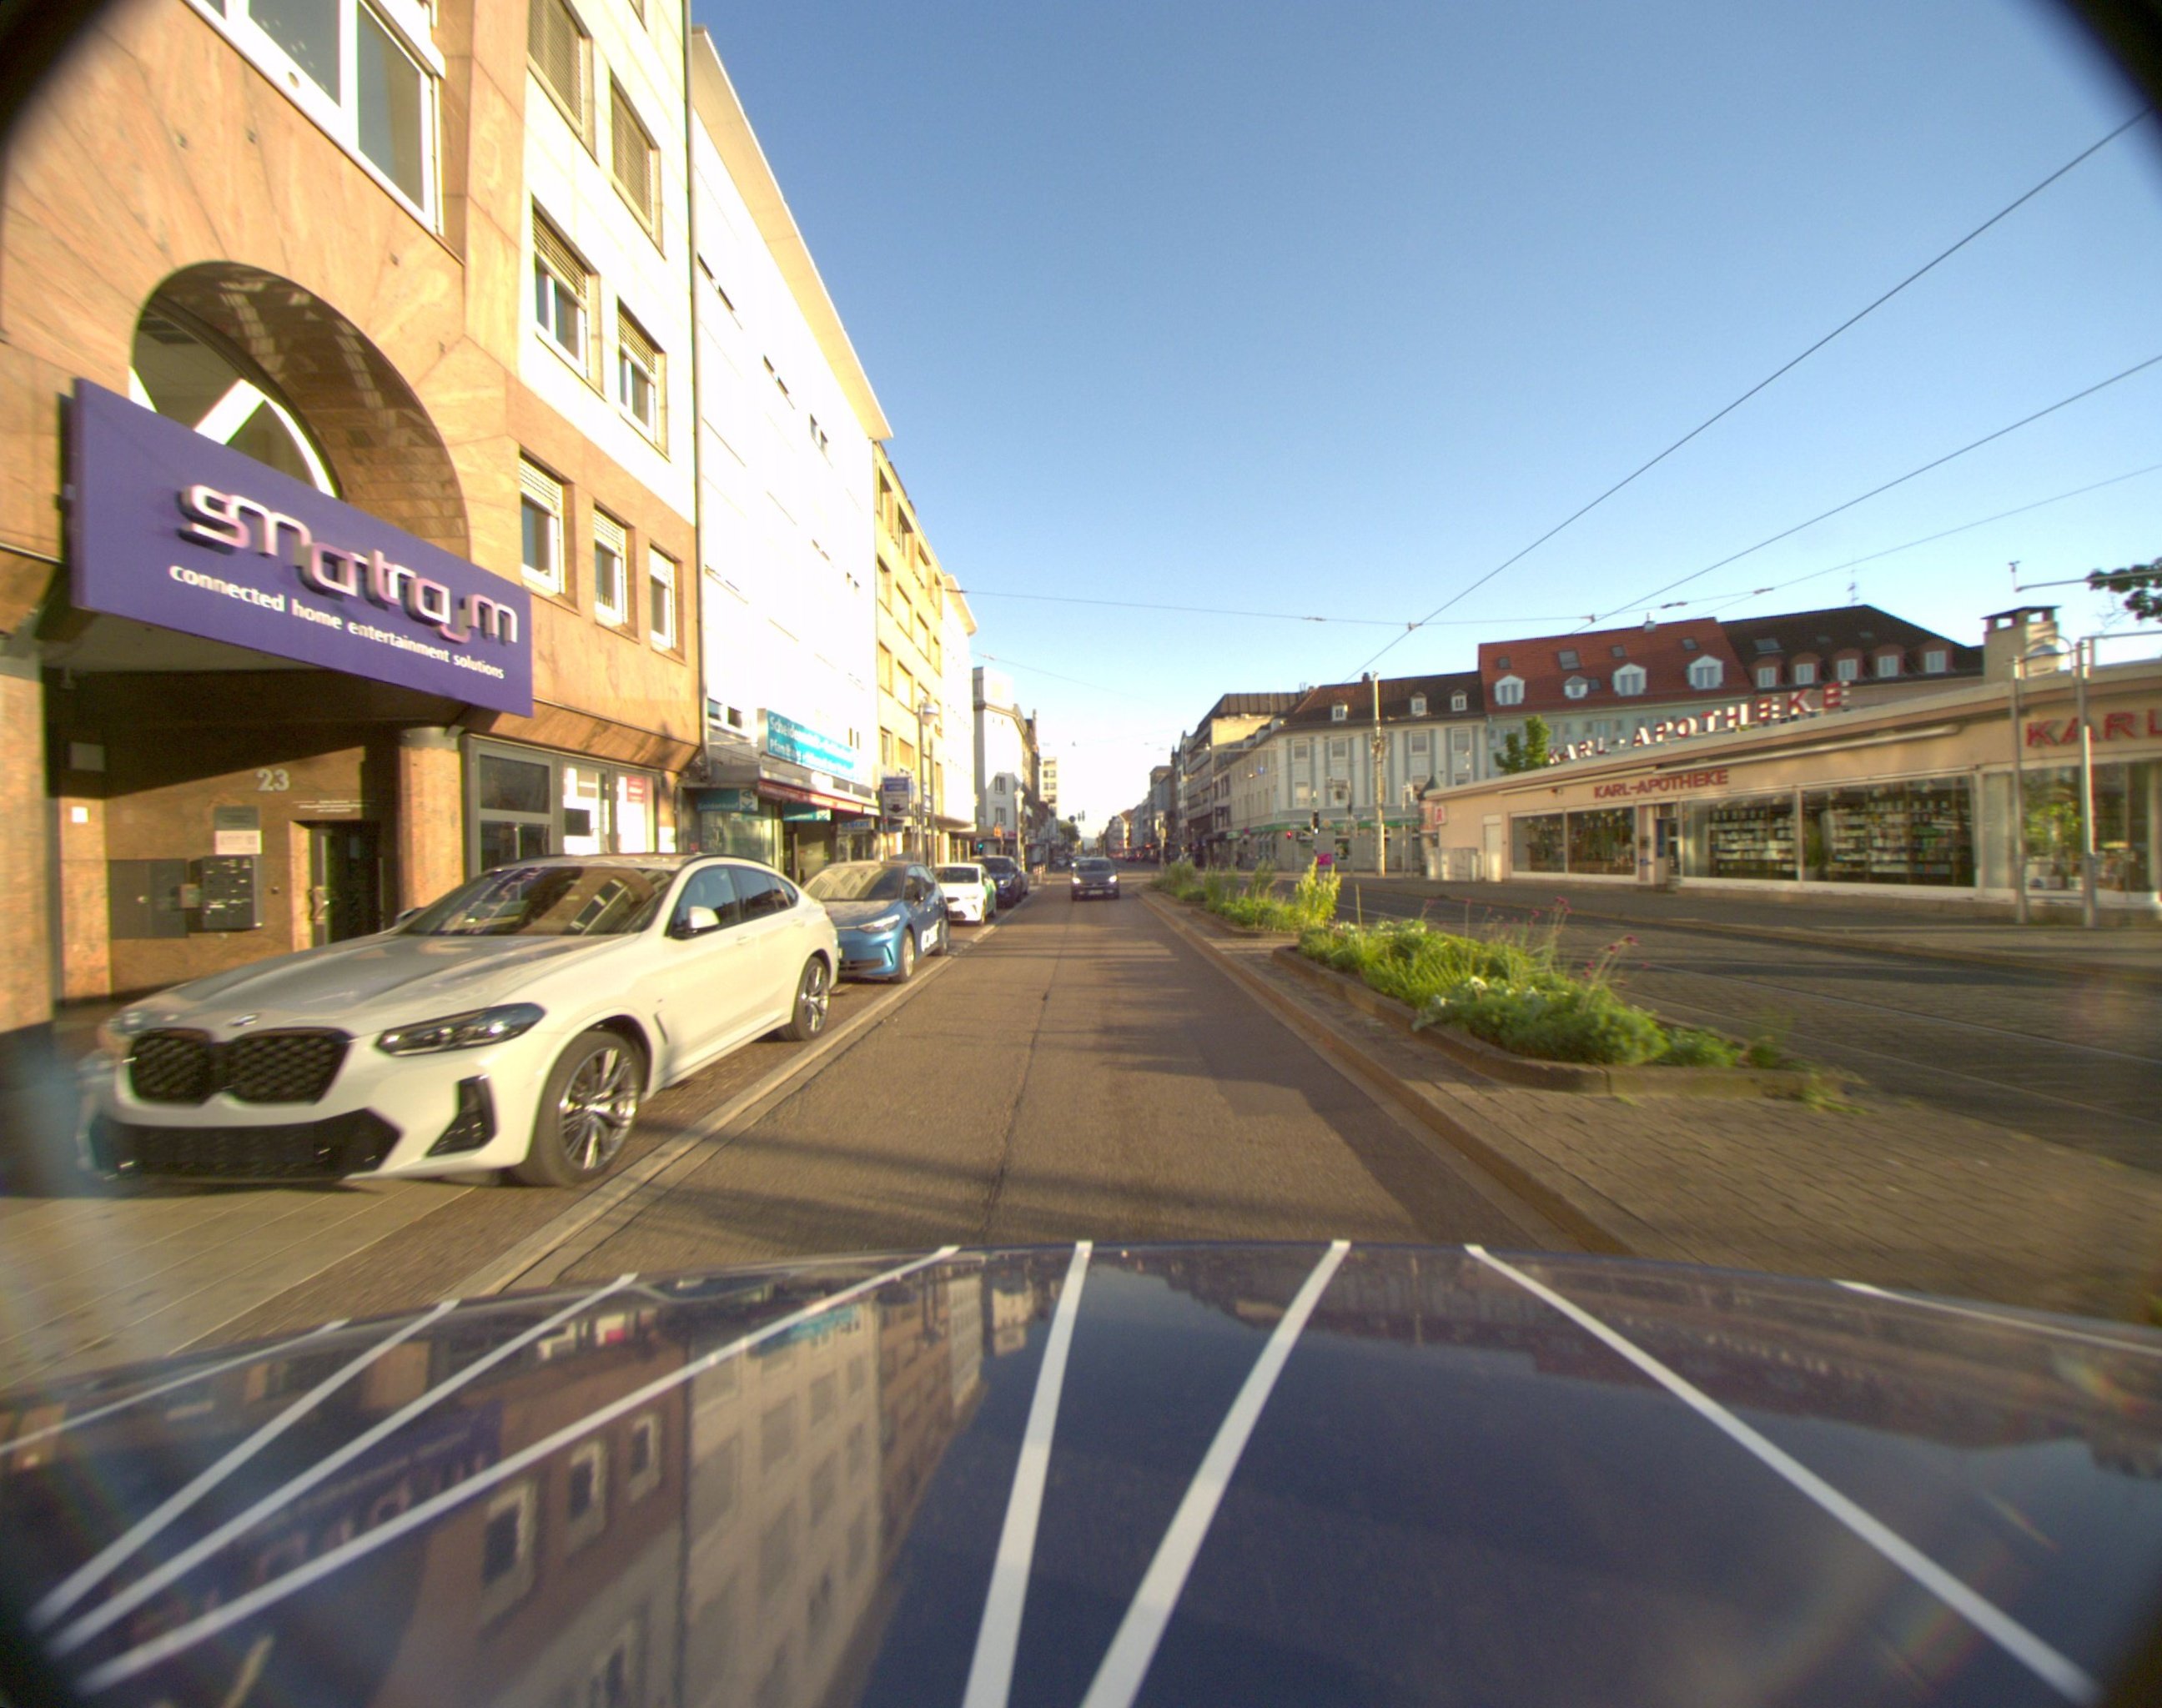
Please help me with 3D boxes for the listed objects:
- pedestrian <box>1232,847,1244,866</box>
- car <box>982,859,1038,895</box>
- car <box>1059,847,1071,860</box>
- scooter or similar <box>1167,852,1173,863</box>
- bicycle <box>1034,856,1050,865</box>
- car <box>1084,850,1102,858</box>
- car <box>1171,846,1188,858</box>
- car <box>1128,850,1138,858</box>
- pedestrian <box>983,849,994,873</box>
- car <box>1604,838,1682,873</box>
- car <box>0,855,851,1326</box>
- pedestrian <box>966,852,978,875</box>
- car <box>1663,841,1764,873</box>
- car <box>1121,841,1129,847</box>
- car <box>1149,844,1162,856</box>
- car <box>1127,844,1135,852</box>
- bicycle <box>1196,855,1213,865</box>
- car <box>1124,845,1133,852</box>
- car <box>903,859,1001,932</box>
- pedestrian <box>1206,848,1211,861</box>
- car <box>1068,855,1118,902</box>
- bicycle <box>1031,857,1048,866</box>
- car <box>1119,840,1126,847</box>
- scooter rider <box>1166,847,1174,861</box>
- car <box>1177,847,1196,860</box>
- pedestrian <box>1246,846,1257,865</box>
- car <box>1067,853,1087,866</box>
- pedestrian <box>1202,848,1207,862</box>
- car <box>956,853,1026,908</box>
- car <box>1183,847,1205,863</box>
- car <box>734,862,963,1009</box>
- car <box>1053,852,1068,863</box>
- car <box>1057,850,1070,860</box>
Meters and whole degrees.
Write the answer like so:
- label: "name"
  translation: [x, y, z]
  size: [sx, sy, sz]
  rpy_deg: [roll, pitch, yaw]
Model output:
- label: "pedestrian"
  translation: [14.164, 0.217, 68.599]
  size: [0.826, 1.718, 0.815]
  rpy_deg: [-2, 1, 21]
- label: "car"
  translation: [-2.882, 0.926, 31.527]
  size: [1.677, 1.275, 4.064]
  rpy_deg: [-1, 1, 3]
- label: "car"
  translation: [-2.710, -0.135, 129.348]
  size: [2.041, 2.105, 4.386]
  rpy_deg: [-1, 0, 0]
- label: "scooter or similar"
  translation: [11.217, 0.414, 95.450]
  size: [0.545, 1.343, 1.669]
  rpy_deg: [-2, 1, 1]
- label: "bicycle"
  translation: [-4.594, 0.766, 89.565]
  size: [1.762, 1.064, 0.443]
  rpy_deg: [0, 1, -6]
- label: "car"
  translation: [2.552, -0.021, 165.569]
  size: [1.801, 1.739, 3.844]
  rpy_deg: [1, 3, 43]
- label: "car"
  translation: [13.995, -0.325, 108.171]
  size: [1.819, 1.548, 3.998]
  rpy_deg: [-1, 2, 1]
- label: "car"
  translation: [10.478, 0.003, 153.339]
  size: [1.895, 1.471, 4.544]
  rpy_deg: [1, -1, 1]
- label: "pedestrian"
  translation: [-6.960, 0.509, 57.135]
  size: [0.749, 1.763, 0.586]
  rpy_deg: [-1, 1, -7]
- label: "car"
  translation: [35.401, 0.041, 47.981]
  size: [1.998, 2.002, 3.998]
  rpy_deg: [-1, 2, 1]
- label: "car"
  translation: [-3.224, 0.840, 5.001]
  size: [1.821, 1.576, 4.723]
  rpy_deg: [-1, 0, 2]
- label: "pedestrian"
  translation: [-8.197, 0.706, 57.252]
  size: [0.749, 1.763, 0.639]
  rpy_deg: [-2, 1, 4]
- label: "car"
  translation: [35.425, 0.108, 42.724]
  size: [1.802, 1.556, 4.679]
  rpy_deg: [-1, 2, 1]
- label: "car"
  translation: [14.678, -3.344, 253.285]
  size: [1.999, 2.002, 3.998]
  rpy_deg: [-1, 2, -2]
- label: "car"
  translation: [12.809, -0.724, 130.653]
  size: [1.998, 2.002, 3.998]
  rpy_deg: [-1, 2, 1]
- label: "car"
  translation: [13.853, -1.753, 212.429]
  size: [1.975, 2.181, 4.132]
  rpy_deg: [-1, 2, 0]
- label: "bicycle"
  translation: [12.630, 0.605, 77.789]
  size: [1.740, 1.052, 0.499]
  rpy_deg: [-1, 0, 9]
- label: "car"
  translation: [13.743, -1.623, 219.724]
  size: [1.960, 2.002, 3.998]
  rpy_deg: [-1, 2, -2]
- label: "car"
  translation: [-3.058, 0.933, 18.795]
  size: [1.735, 1.427, 4.150]
  rpy_deg: [-1, 2, -1]
- label: "pedestrian"
  translation: [16.460, 0.084, 98.019]
  size: [0.515, 1.725, 0.600]
  rpy_deg: [-1, 3, 0]
- label: "car"
  translation: [0.402, 0.798, 26.734]
  size: [1.587, 1.445, 3.842]
  rpy_deg: [-1, 1, 0]
- label: "bicycle"
  translation: [-4.734, 0.904, 86.733]
  size: [1.829, 1.025, 0.443]
  rpy_deg: [0, 0, -6]
- label: "car"
  translation: [14.190, -3.571, 259.233]
  size: [1.999, 2.002, 3.998]
  rpy_deg: [-1, 2, -2]
- label: "scooter rider"
  translation: [11.200, 0.029, 95.590]
  size: [0.813, 1.796, 0.788]
  rpy_deg: [-1, 0, 1]
- label: "car"
  translation: [13.393, -0.062, 96.606]
  size: [1.701, 1.614, 4.000]
  rpy_deg: [-2, 0, 0]
- label: "pedestrian"
  translation: [15.185, 0.161, 67.793]
  size: [0.826, 1.631, 0.814]
  rpy_deg: [-2, 0, 17]
- label: "car"
  translation: [-0.410, 0.629, 83.827]
  size: [1.914, 1.350, 3.747]
  rpy_deg: [-2, 0, 4]
- label: "pedestrian"
  translation: [15.897, 0.133, 98.004]
  size: [0.509, 1.675, 0.583]
  rpy_deg: [-2, 2, -1]
- label: "car"
  translation: [-2.850, 0.786, 24.927]
  size: [1.769, 1.596, 4.287]
  rpy_deg: [-1, 0, 0]
- label: "car"
  translation: [13.468, 0.132, 90.557]
  size: [1.915, 1.785, 4.128]
  rpy_deg: [-3, 1, 0]
- label: "car"
  translation: [-3.011, 0.948, 11.028]
  size: [1.814, 1.543, 4.835]
  rpy_deg: [-1, 0, 0]
- label: "car"
  translation: [-3.032, 0.549, 112.369]
  size: [2.041, 1.550, 4.386]
  rpy_deg: [-1, 0, 0]
- label: "car"
  translation: [-2.842, 0.097, 124.120]
  size: [2.041, 1.550, 4.386]
  rpy_deg: [-1, 0, 0]
